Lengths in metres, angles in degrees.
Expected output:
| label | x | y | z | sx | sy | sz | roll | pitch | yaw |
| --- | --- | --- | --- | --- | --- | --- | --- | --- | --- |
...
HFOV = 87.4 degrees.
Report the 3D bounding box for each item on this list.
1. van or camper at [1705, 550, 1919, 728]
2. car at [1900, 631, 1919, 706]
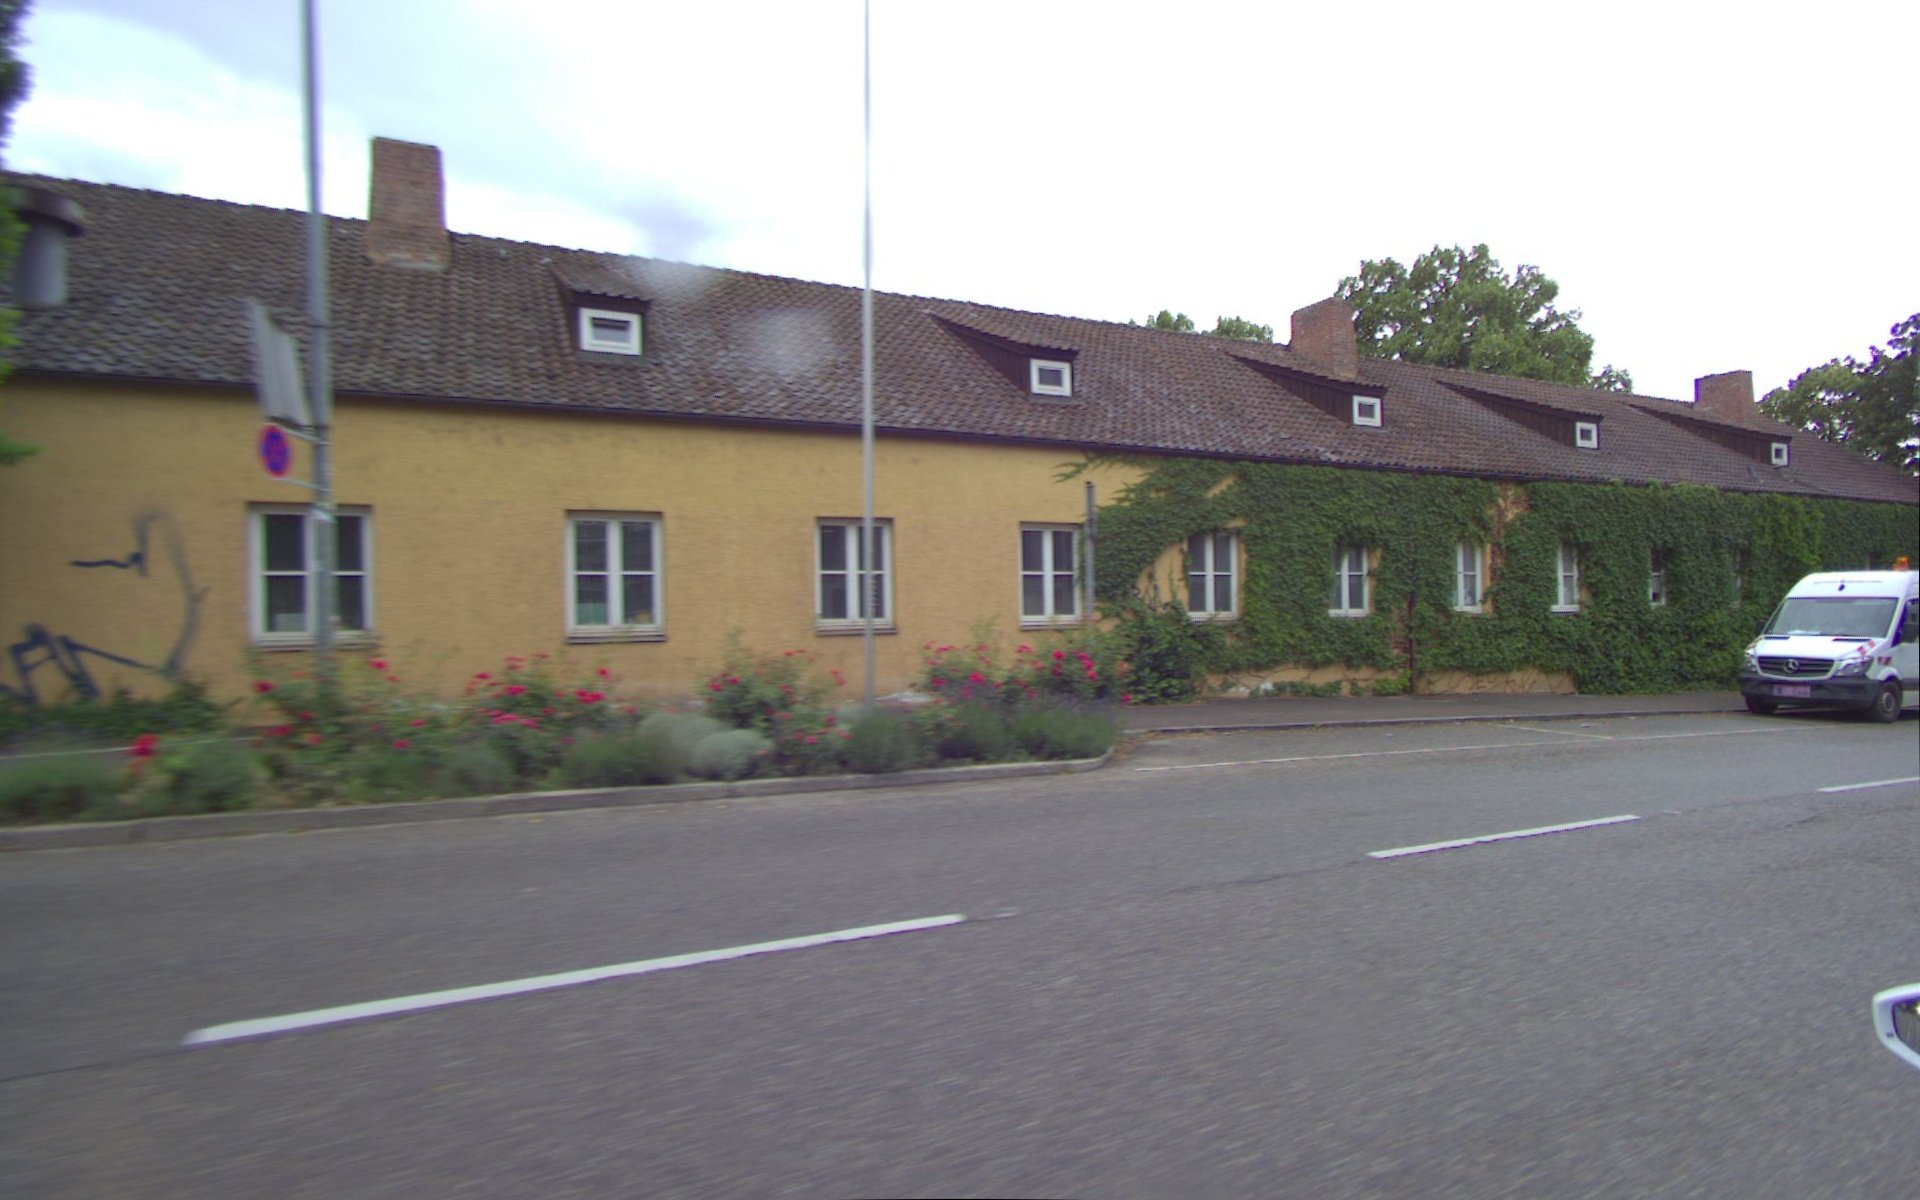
| label | x | y | z | sx | sy | sz | roll | pitch | yaw |
| --- | --- | --- | --- | --- | --- | --- | --- | --- | --- |
| van or camper | 16.528 | 0.660 | 18.228 | 6.061 | 2.802 | 2.332 | 1 | 0 | -27 |
| car | 21.923 | 1.479 | 20.880 | 4.362 | 1.532 | 1.988 | 2 | -1 | -25 |
